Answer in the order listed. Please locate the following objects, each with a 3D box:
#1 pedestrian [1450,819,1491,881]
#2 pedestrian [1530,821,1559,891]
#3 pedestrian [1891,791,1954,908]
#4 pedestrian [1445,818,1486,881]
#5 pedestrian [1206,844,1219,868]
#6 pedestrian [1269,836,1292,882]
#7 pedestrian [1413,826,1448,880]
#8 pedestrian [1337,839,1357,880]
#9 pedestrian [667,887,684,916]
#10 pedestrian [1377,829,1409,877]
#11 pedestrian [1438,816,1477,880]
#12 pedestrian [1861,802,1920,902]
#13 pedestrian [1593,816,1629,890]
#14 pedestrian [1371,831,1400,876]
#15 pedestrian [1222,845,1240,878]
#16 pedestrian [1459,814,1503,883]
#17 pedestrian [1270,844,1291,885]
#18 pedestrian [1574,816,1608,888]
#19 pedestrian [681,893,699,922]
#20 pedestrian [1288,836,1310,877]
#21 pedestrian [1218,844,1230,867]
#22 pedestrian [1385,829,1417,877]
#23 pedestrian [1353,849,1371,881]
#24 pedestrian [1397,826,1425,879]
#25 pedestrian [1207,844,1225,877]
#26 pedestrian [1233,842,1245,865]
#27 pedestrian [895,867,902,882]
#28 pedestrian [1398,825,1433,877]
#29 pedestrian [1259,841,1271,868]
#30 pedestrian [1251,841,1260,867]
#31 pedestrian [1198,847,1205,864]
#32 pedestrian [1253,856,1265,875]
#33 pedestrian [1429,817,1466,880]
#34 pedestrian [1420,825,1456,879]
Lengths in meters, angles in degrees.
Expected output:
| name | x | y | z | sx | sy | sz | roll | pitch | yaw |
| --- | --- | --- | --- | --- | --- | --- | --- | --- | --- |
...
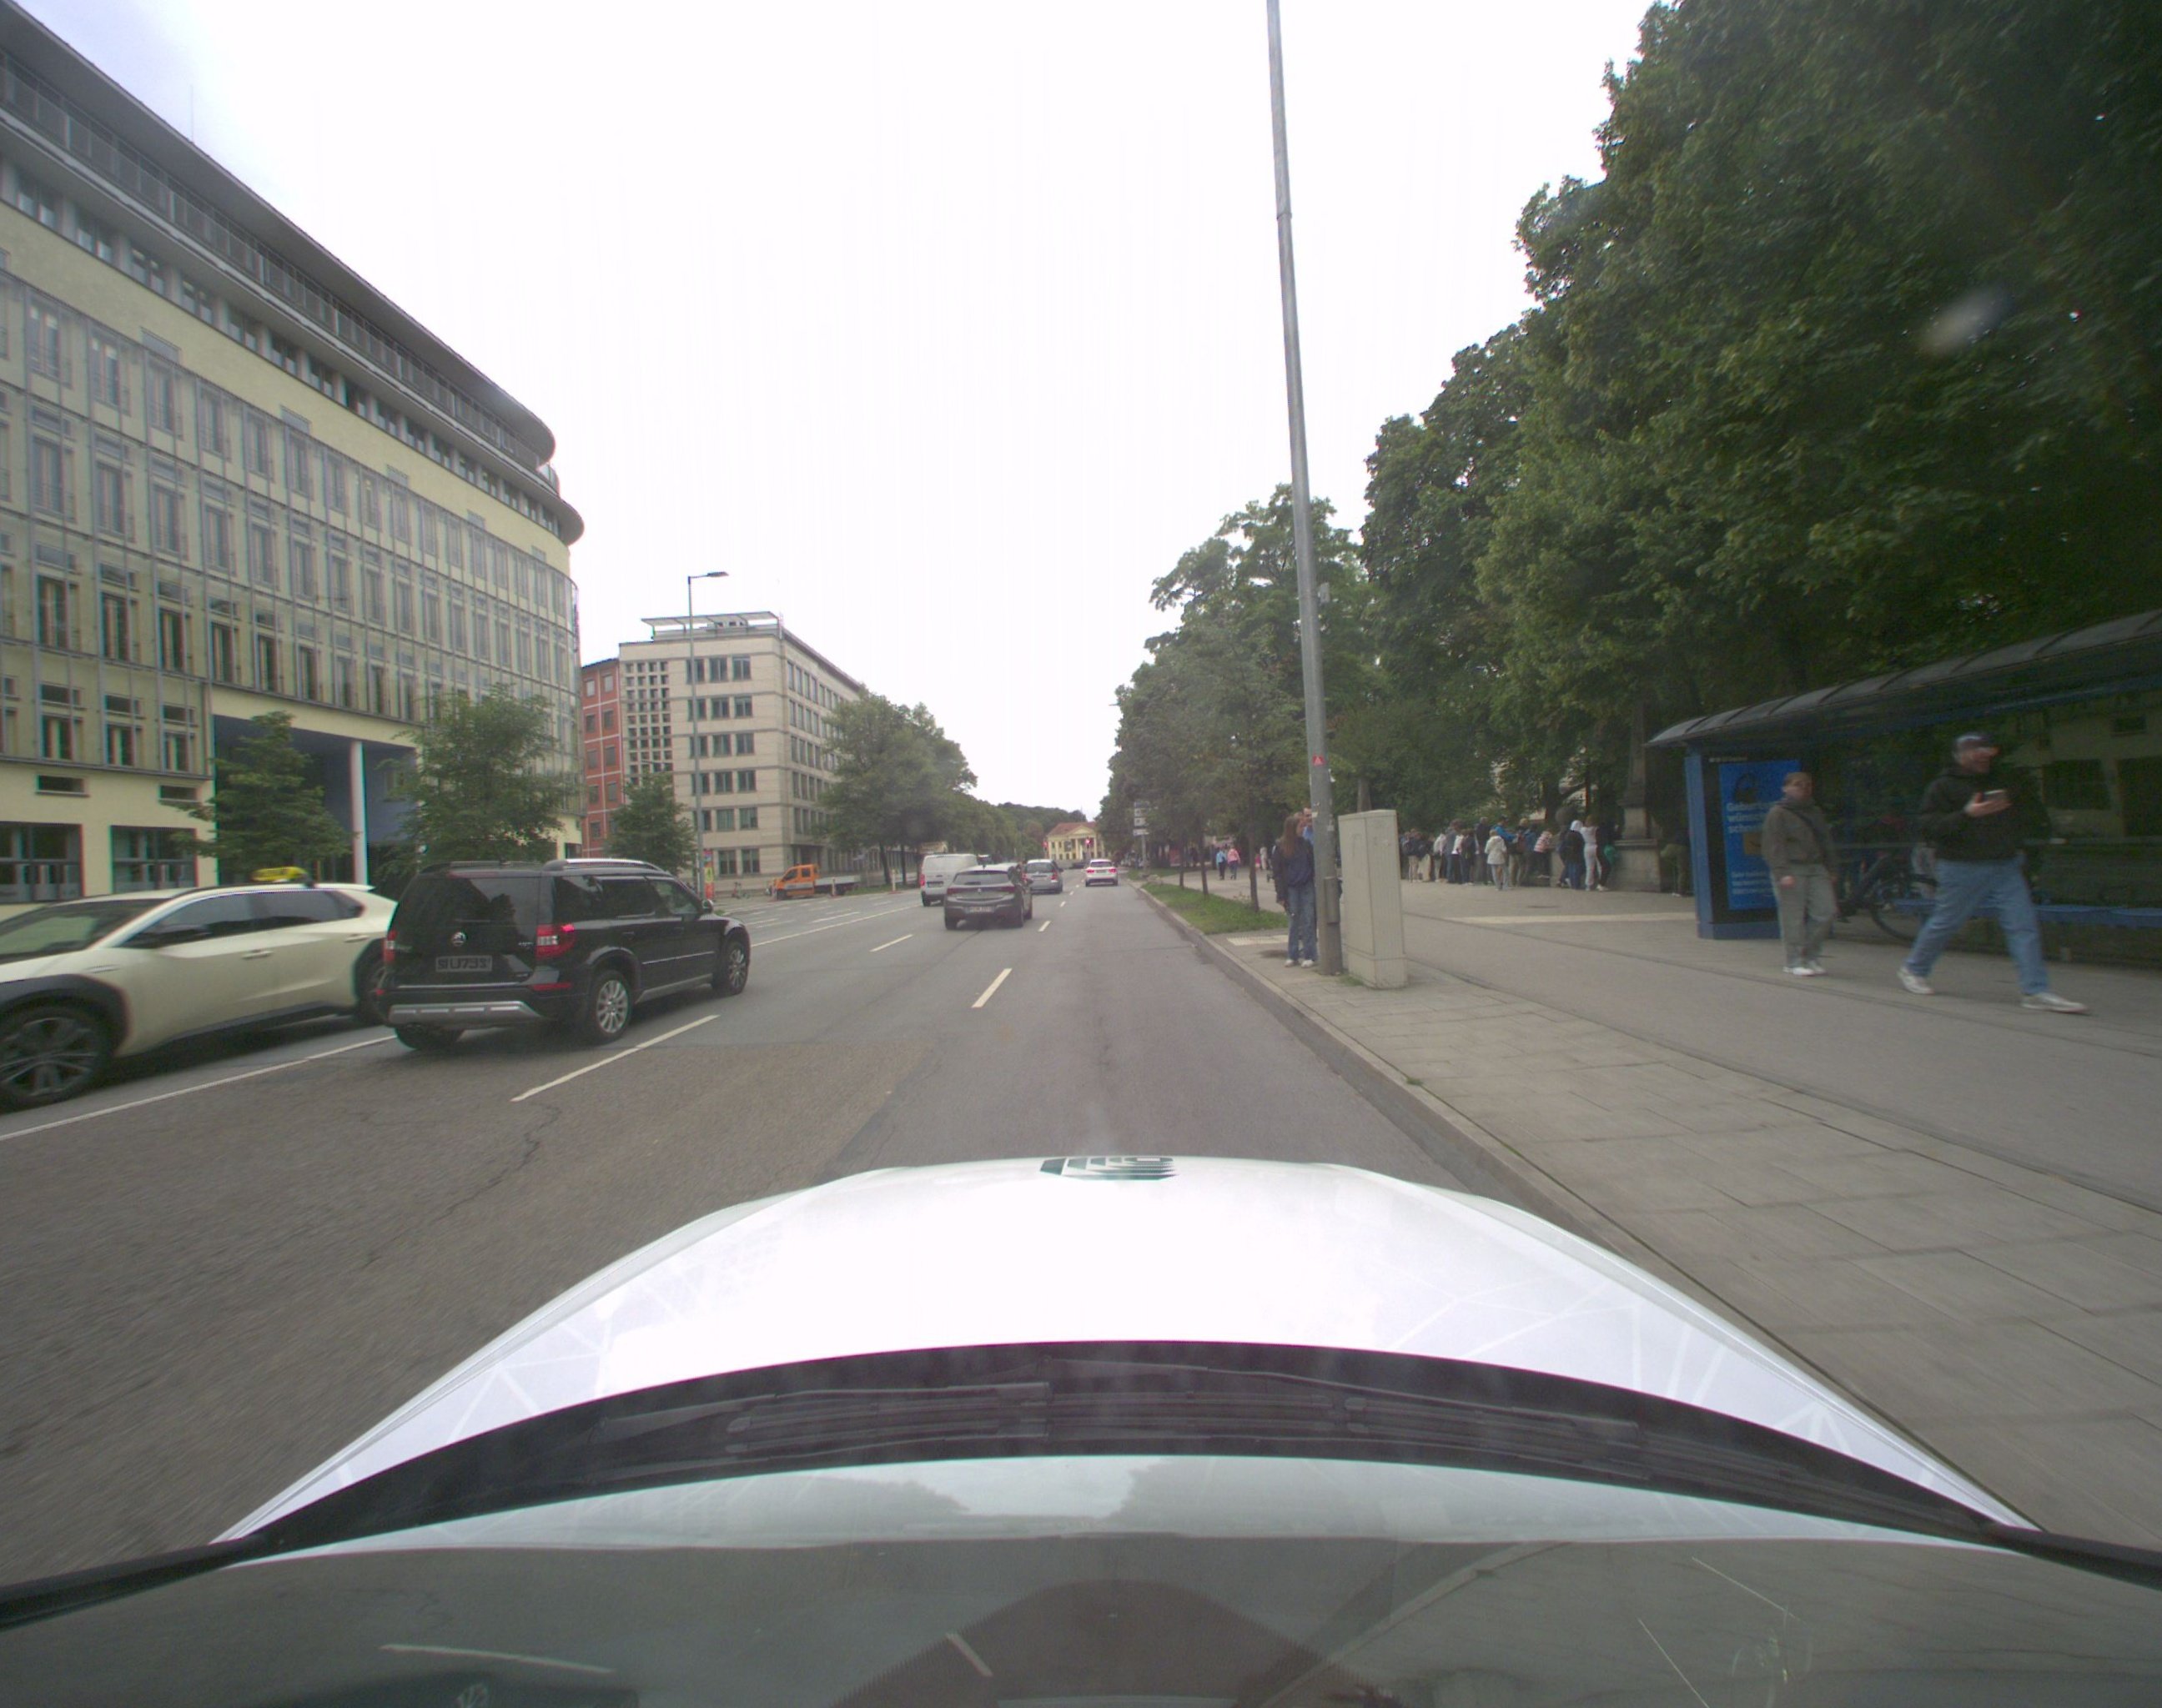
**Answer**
| name | x | y | z | sx | sy | sz | roll | pitch | yaw |
| --- | --- | --- | --- | --- | --- | --- | --- | --- | --- |
| pedestrian | 11.063 | -0.108 | 23.166 | 0.808 | 1.691 | 0.674 | -2 | -1 | 4 |
| pedestrian | 11.485 | 0.049 | 20.165 | 0.418 | 1.704 | 0.443 | -2 | -1 | 3 |
| pedestrian | 12.558 | -0.065 | 12.163 | 0.418 | 1.704 | 0.443 | -2 | -1 | 4 |
| pedestrian | 11.274 | -0.136 | 23.897 | 0.808 | 1.790 | 0.729 | -2 | -1 | 4 |
| pedestrian | 9.419 | 0.136 | 58.270 | 0.749 | 1.737 | 0.853 | -2 | -1 | 17 |
| pedestrian | 7.489 | 0.182 | 30.599 | 0.722 | 1.691 | 0.649 | -2 | -1 | 6 |
| pedestrian | 11.531 | -0.021 | 26.880 | 0.808 | 1.739 | 0.729 | -2 | -1 | 4 |
| pedestrian | 9.896 | 0.203 | 30.315 | 0.546 | 1.527 | 0.649 | -2 | -1 | 6 |
| pedestrian | -25.829 | 3.037 | 51.842 | 0.679 | 1.775 | 0.675 | -2 | -1 | 5 |
| pedestrian | 11.564 | -0.024 | 30.231 | 0.808 | 1.690 | 0.729 | -4 | -1 | 4 |
| pedestrian | 11.388 | -0.176 | 24.635 | 0.808 | 1.874 | 0.729 | -2 | -1 | 4 |
| pedestrian | 12.531 | -0.030 | 12.619 | 0.418 | 1.507 | 0.443 | -2 | -1 | 4 |
| pedestrian | 11.105 | -0.019 | 17.070 | 0.418 | 1.507 | 0.443 | -2 | -1 | 4 |
| pedestrian | 11.670 | -0.010 | 31.214 | 0.808 | 1.691 | 0.729 | -2 | -1 | 4 |
| pedestrian | 7.671 | 0.376 | 41.586 | 0.749 | 1.643 | 0.853 | -2 | -1 | 17 |
| pedestrian | 11.008 | -0.150 | 22.443 | 0.808 | 1.852 | 0.729 | -2 | -1 | 4 |
| pedestrian | 8.378 | 0.453 | 34.258 | 0.722 | 1.691 | 0.649 | -2 | -1 | 6 |
| pedestrian | 10.959 | -0.044 | 17.517 | 0.418 | 1.507 | 0.443 | -2 | -1 | 4 |
| pedestrian | -24.945 | 3.381 | 51.955 | 0.679 | 1.775 | 0.784 | -2 | -1 | 5 |
| pedestrian | 9.150 | 0.106 | 34.178 | 0.722 | 1.691 | 0.649 | -2 | -1 | 6 |
| pedestrian | 10.335 | 0.085 | 58.944 | 0.749 | 1.643 | 0.653 | -2 | -1 | 16 |
| pedestrian | 11.566 | -0.032 | 29.440 | 0.808 | 1.690 | 0.729 | -3 | -1 | 4 |
| pedestrian | 10.381 | 0.414 | 30.134 | 0.455 | 1.153 | 0.649 | -2 | -1 | 6 |
| pedestrian | 10.771 | -0.043 | 26.595 | 0.589 | 1.691 | 0.729 | -2 | -1 | 4 |
| pedestrian | 6.904 | 0.326 | 41.725 | 0.749 | 1.643 | 0.853 | -2 | -1 | 17 |
| pedestrian | 11.512 | -0.011 | 59.264 | 0.749 | 1.643 | 0.694 | -2 | -1 | 17 |
| pedestrian | -22.102 | 2.481 | 98.677 | 0.576 | 1.732 | 0.764 | -2 | -1 | 2 |
| pedestrian | 11.369 | -0.092 | 27.685 | 0.808 | 1.690 | 0.729 | -4 | -1 | 4 |
| pedestrian | 11.328 | 0.033 | 50.157 | 0.626 | 1.667 | 0.575 | -2 | -1 | 17 |
| pedestrian | 10.816 | 0.009 | 50.492 | 0.481 | 1.566 | 0.575 | -2 | -1 | 17 |
| pedestrian | 12.421 | 0.129 | 84.074 | 0.627 | 1.774 | 0.783 | -2 | -1 | 5 |
| pedestrian | 10.648 | 0.689 | 48.613 | 0.626 | 1.137 | 0.575 | -2 | -1 | 17 |
| pedestrian | 11.420 | -0.168 | 25.403 | 0.808 | 1.917 | 0.729 | -2 | -1 | 4 |
| pedestrian | 11.468 | -0.051 | 26.154 | 0.808 | 1.691 | 0.729 | -2 | -1 | 4 |
